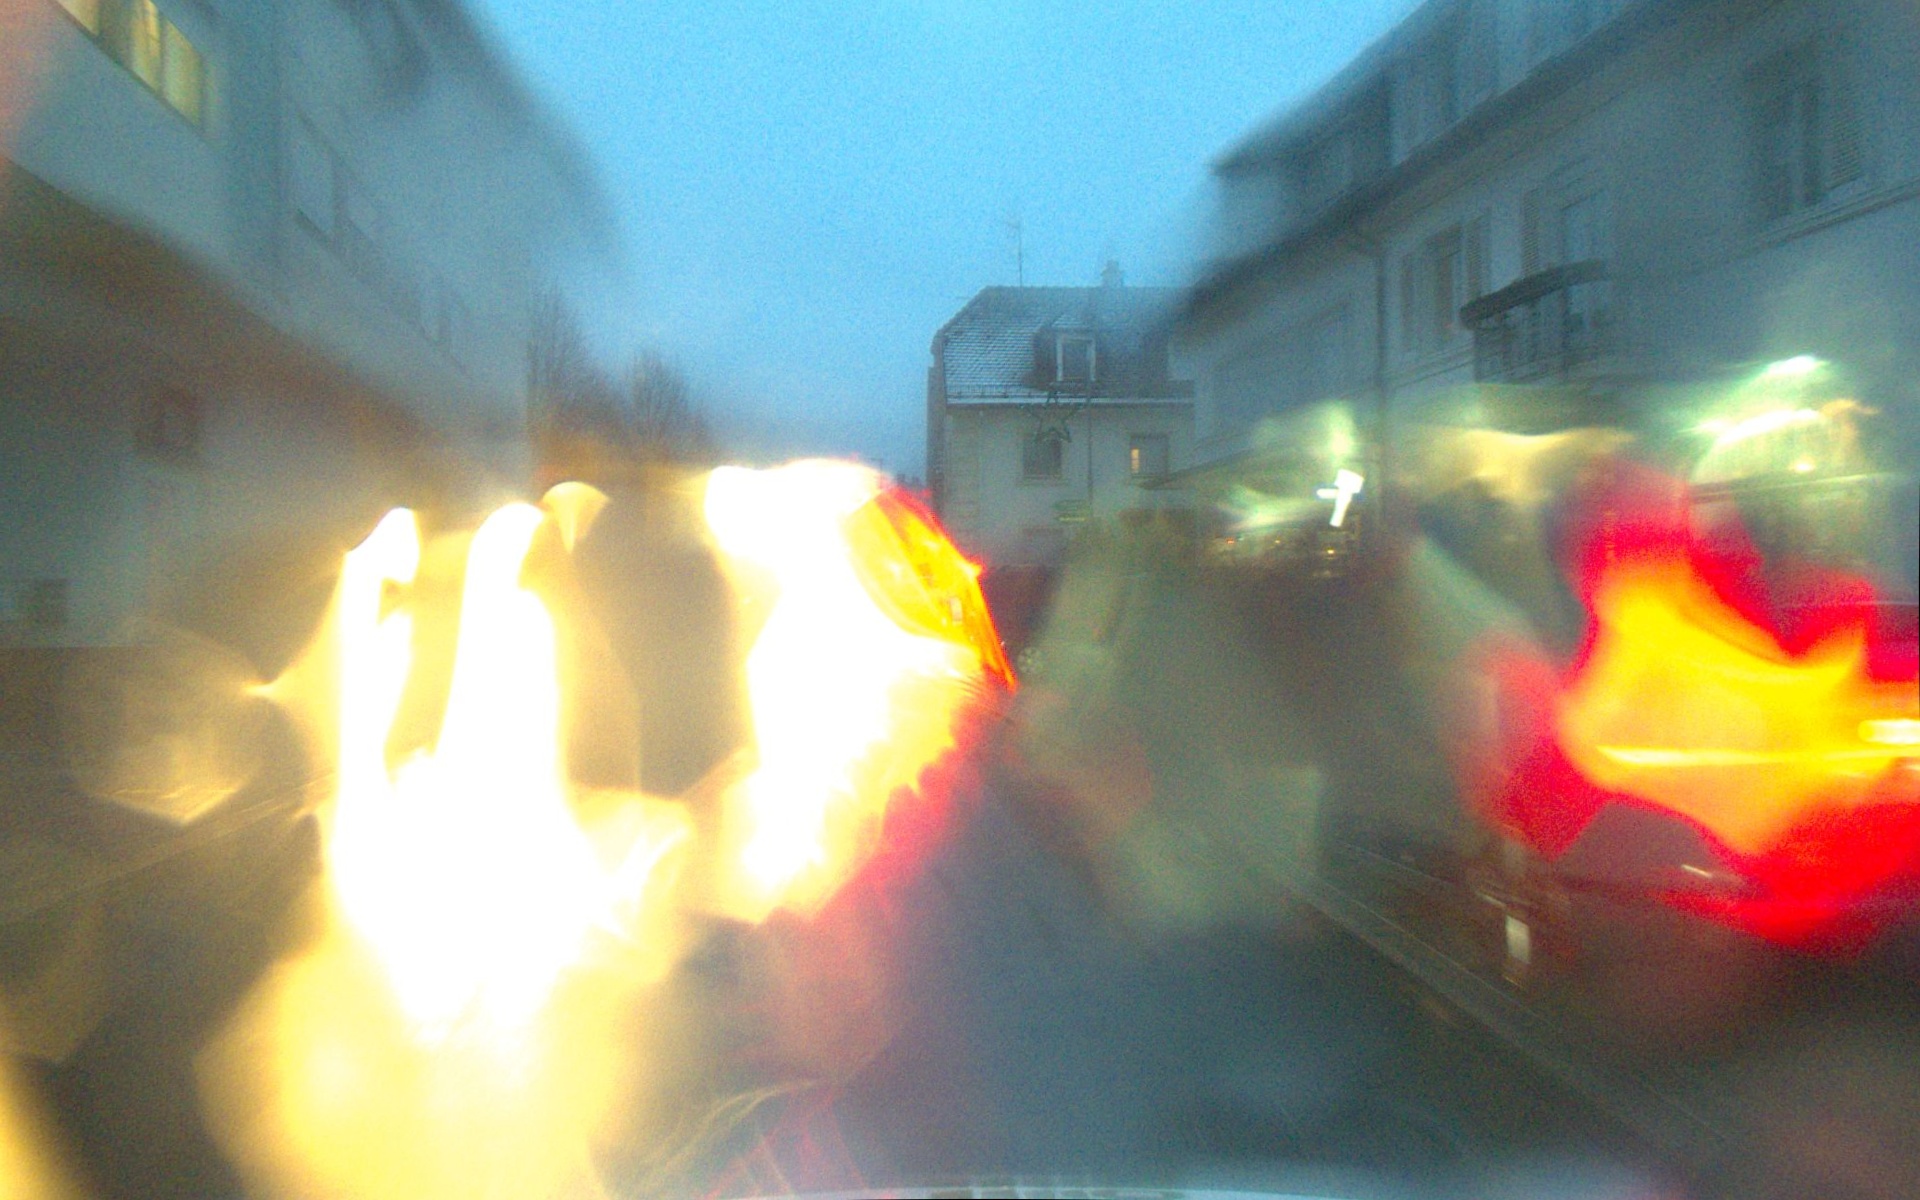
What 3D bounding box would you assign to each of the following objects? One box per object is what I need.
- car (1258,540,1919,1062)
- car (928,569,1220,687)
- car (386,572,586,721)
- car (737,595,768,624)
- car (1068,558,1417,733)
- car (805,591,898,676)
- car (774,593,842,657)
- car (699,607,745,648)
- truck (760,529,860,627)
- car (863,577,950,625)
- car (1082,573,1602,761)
[{"bbox_3d":[2.852,0.583,7.461,1.845,1.574,4.667,-2,0,-4],"label":"car"},{"bbox_3d":[1.866,0.421,27.640,4.521,1.807,1.940,-1,0,-11],"label":"car"},{"bbox_3d":[-5.788,0.510,20.620,1.760,1.671,3.807,1,0,-7],"label":"car"},{"bbox_3d":[-12.318,0.545,98.238,1.776,1.624,4.392,0,0,-7],"label":"car"},{"bbox_3d":[3.113,0.464,18.529,3.443,1.710,1.711,-2,1,-12],"label":"car"},{"bbox_3d":[-2.077,0.600,31.068,1.606,1.507,3.374,1,0,-6],"label":"car"},{"bbox_3d":[-3.793,0.593,41.025,1.606,1.507,3.267,1,0,-6],"label":"car"},{"bbox_3d":[-9.363,1.059,65.296,1.606,1.562,3.402,0,0,-5],"label":"car"},{"bbox_3d":[-5.331,-0.728,57.734,2.959,3.183,7.984,1,0,-9],"label":"truck"},{"bbox_3d":[-2.466,0.048,77.273,4.013,2.200,1.913,0,0,0],"label":"car"},{"bbox_3d":[3.512,0.574,15.628,4.383,1.499,1.895,-2,1,-8],"label":"car"}]
